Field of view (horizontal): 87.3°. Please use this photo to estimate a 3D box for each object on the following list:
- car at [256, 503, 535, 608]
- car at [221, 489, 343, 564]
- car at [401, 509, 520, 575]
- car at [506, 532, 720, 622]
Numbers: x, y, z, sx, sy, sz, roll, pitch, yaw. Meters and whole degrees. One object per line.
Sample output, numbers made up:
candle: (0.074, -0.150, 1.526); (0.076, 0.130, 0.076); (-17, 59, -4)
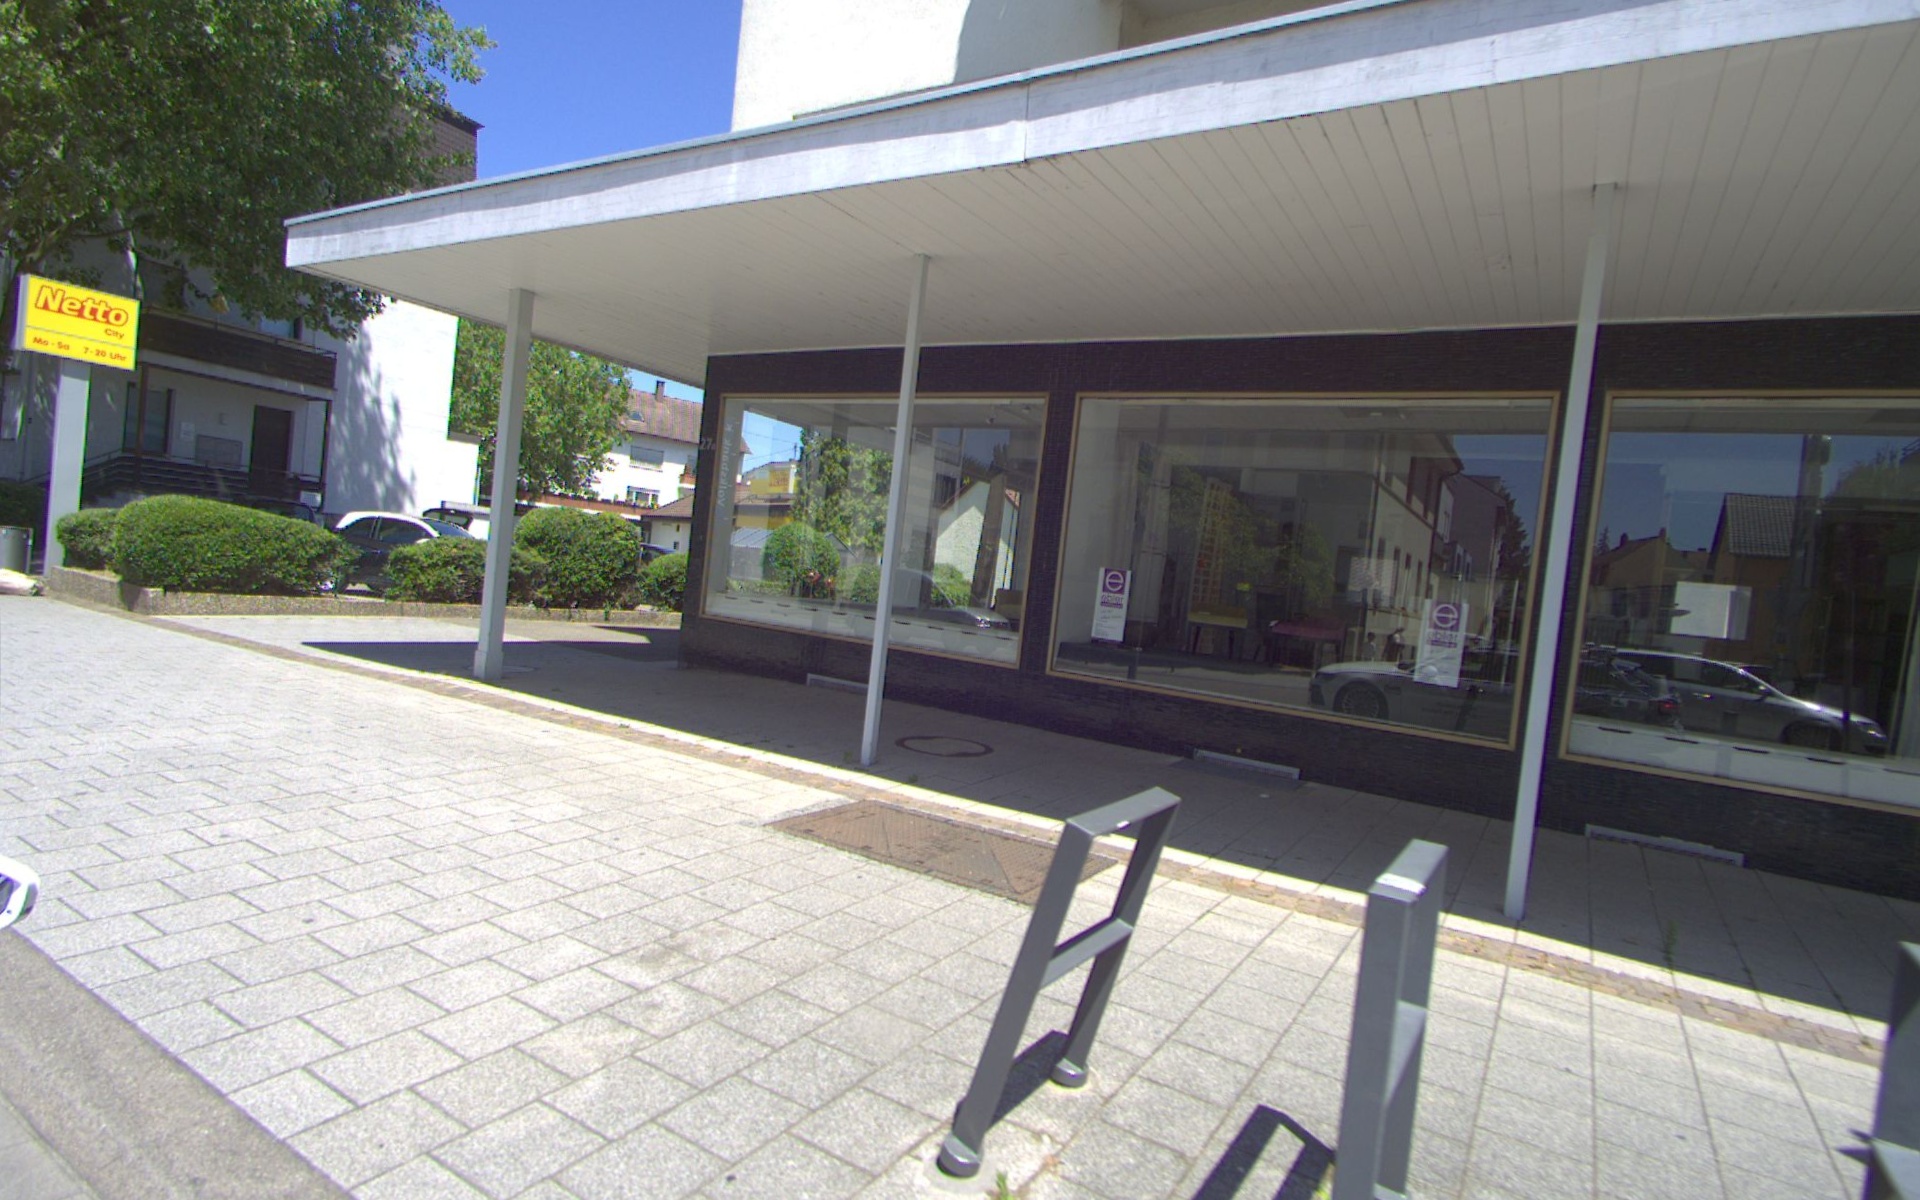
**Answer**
car: (-9.956, -0.800, 17.929); (3.923, 1.473, 1.847); (5, 3, 4)
car: (-15.824, -1.734, 23.407); (1.834, 1.473, 3.952); (2, 4, -42)
car: (-13.339, -1.581, 26.744); (1.834, 1.473, 3.952); (2, 4, -42)
car: (-7.470, -0.519, 21.848); (3.923, 1.573, 1.848); (5, 3, 8)
